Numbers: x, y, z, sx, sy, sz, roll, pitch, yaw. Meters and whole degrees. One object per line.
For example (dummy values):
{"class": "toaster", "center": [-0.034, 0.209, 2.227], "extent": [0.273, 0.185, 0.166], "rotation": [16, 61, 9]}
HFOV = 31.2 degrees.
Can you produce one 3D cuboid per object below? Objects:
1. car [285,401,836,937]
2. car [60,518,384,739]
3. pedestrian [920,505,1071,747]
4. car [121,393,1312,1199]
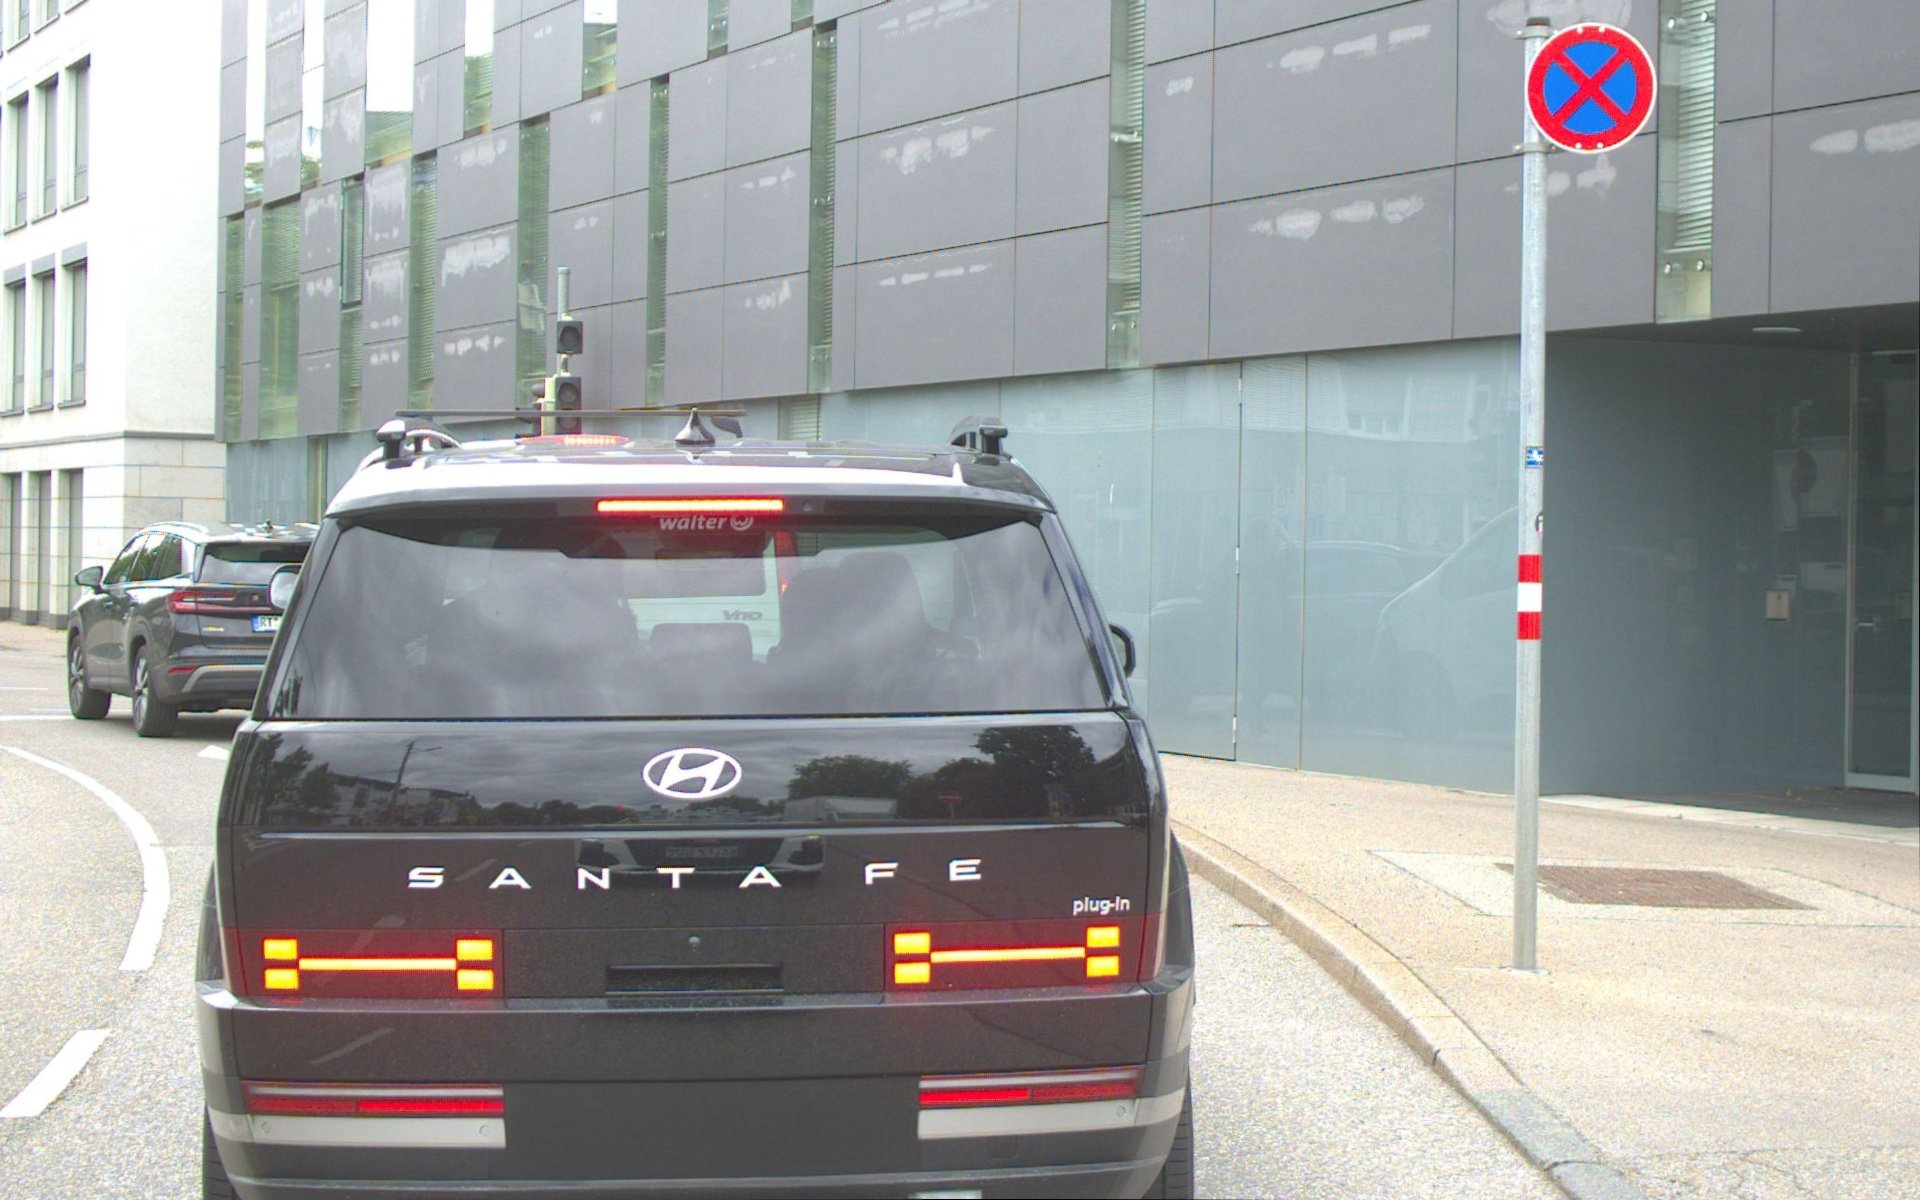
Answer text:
{"class": "car", "center": [-1.921, 0.226, 15.145], "extent": [1.931, 1.987, 4.536], "rotation": [1, 1, -12]}
{"class": "car", "center": [-5.933, 0.171, 27.268], "extent": [1.759, 1.603, 4.189], "rotation": [1, 1, -23]}
{"class": "pedestrian", "center": [0.251, 0.182, 24.547], "extent": [0.711, 1.688, 0.866], "rotation": [1, 0, -27]}
{"class": "car", "center": [-0.628, 0.507, 7.713], "extent": [1.908, 1.743, 4.398], "rotation": [0, 1, -7]}
